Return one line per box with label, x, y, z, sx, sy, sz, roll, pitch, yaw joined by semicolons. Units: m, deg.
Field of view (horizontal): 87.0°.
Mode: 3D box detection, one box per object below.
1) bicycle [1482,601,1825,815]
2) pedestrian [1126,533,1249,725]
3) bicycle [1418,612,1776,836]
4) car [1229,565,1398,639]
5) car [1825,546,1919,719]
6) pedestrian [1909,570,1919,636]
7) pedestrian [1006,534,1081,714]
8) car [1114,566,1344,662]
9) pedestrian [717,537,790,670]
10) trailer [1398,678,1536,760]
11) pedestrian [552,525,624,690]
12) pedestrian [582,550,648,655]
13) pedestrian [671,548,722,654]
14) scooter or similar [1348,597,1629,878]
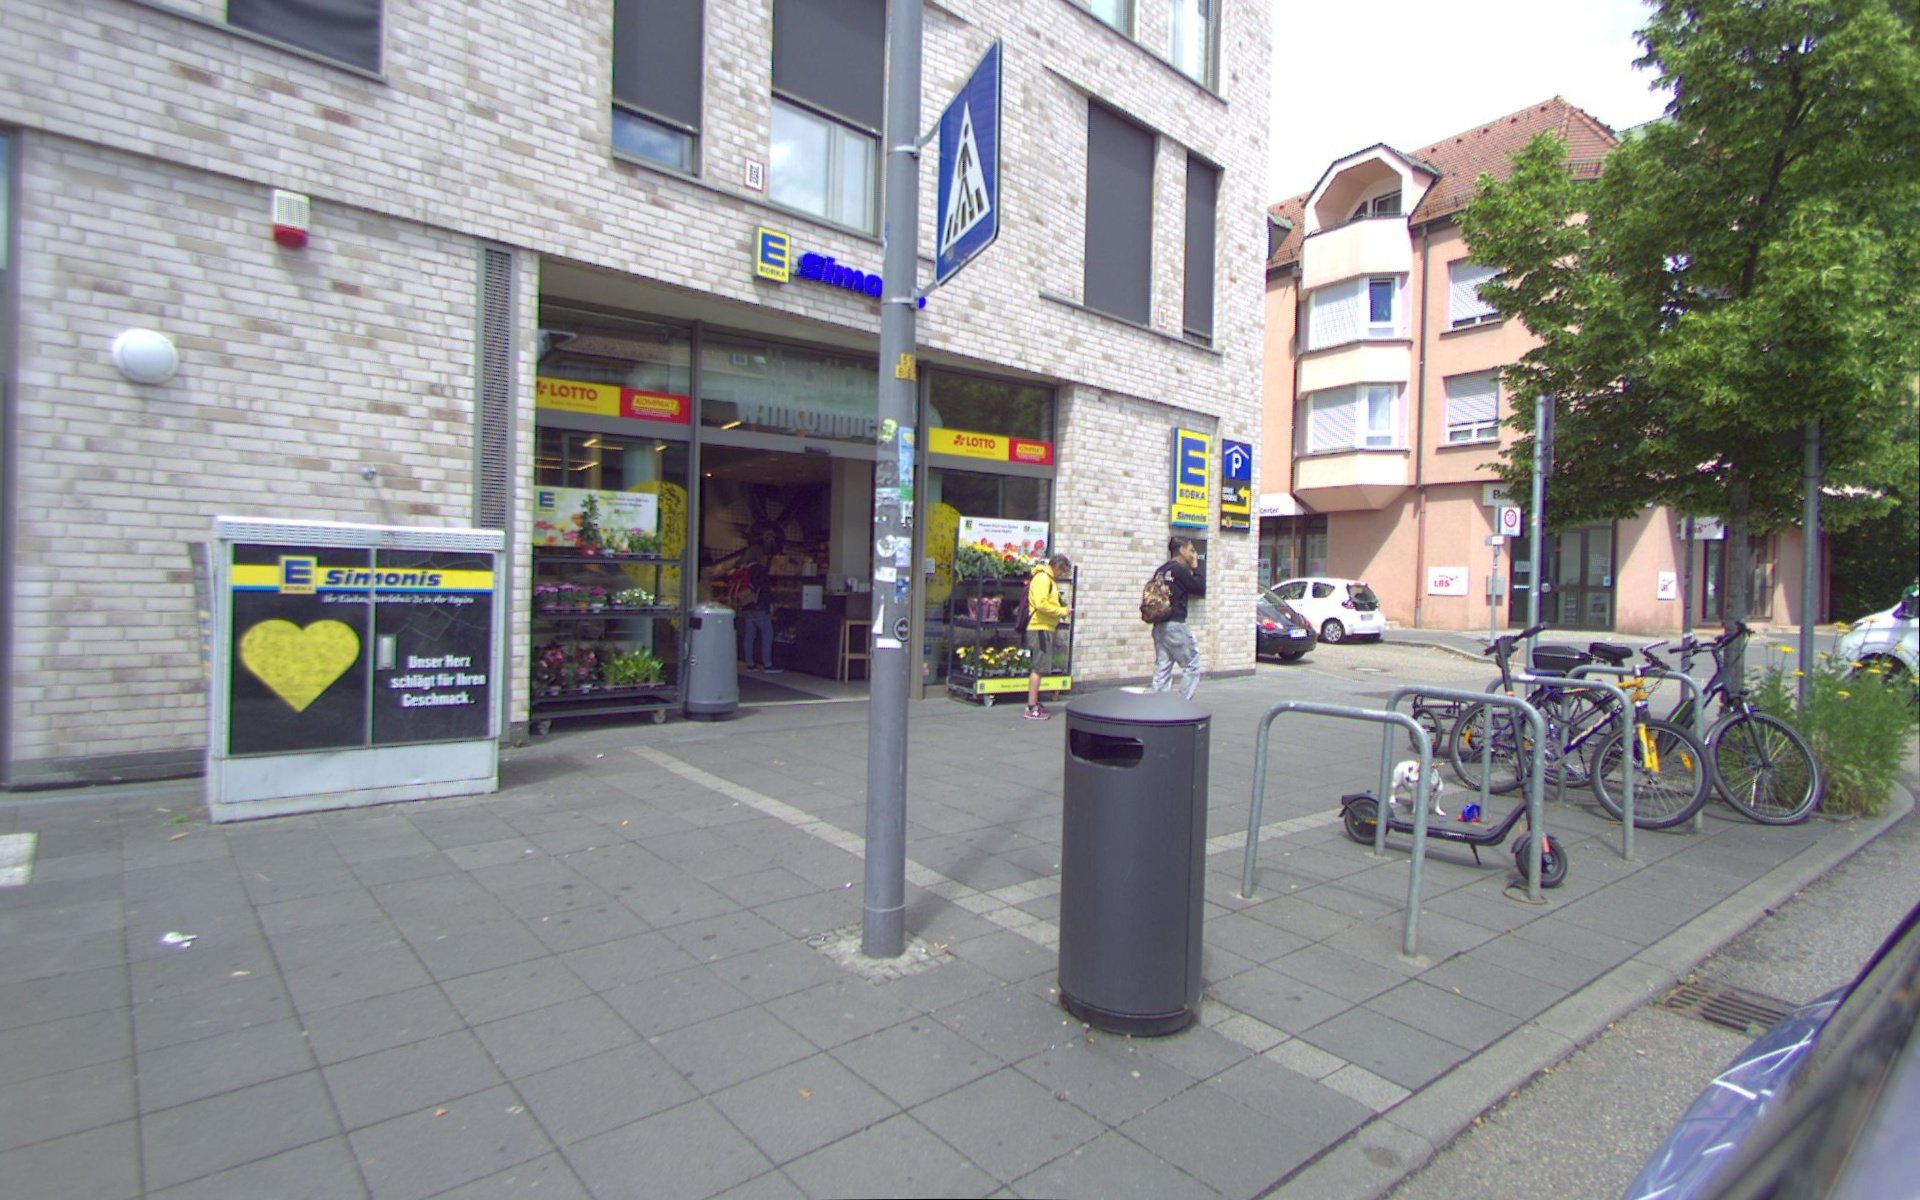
bicycle;4.817;0.665;7.162;0.742;1.215;1.828;0;3;-37
pedestrian;2.219;0.250;9.857;0.999;1.763;0.659;0;2;-38
bicycle;4.102;0.713;6.664;0.742;1.145;1.828;0;3;-37
car;8.229;-0.007;23.794;1.684;1.495;3.396;0;3;-32
car;12.476;0.377;10.544;1.960;2.039;5.399;0;0;-5
pedestrian;24.907;0.091;25.803;0.909;1.659;0.747;1;3;-31
pedestrian;0.812;0.225;10.016;0.619;1.713;0.660;1;1;-3
car;4.951;0.178;19.055;1.751;1.495;3.906;0;3;-38
pedestrian;-2.817;0.036;13.788;0.726;1.748;0.662;-2;1;-37
trailer;4.194;0.965;8.386;0.796;0.535;0.722;-1;1;-34
pedestrian;-4.048;0.069;10.985;0.646;1.713;0.684;0;1;-27
pedestrian;-5.399;0.025;15.864;0.675;1.580;0.703;2;1;24
pedestrian;-4.152;0.000;15.940;0.592;1.627;0.519;-2;1;-37
scooter or similar;2.764;0.645;5.383;0.484;1.265;1.200;0;3;-37
